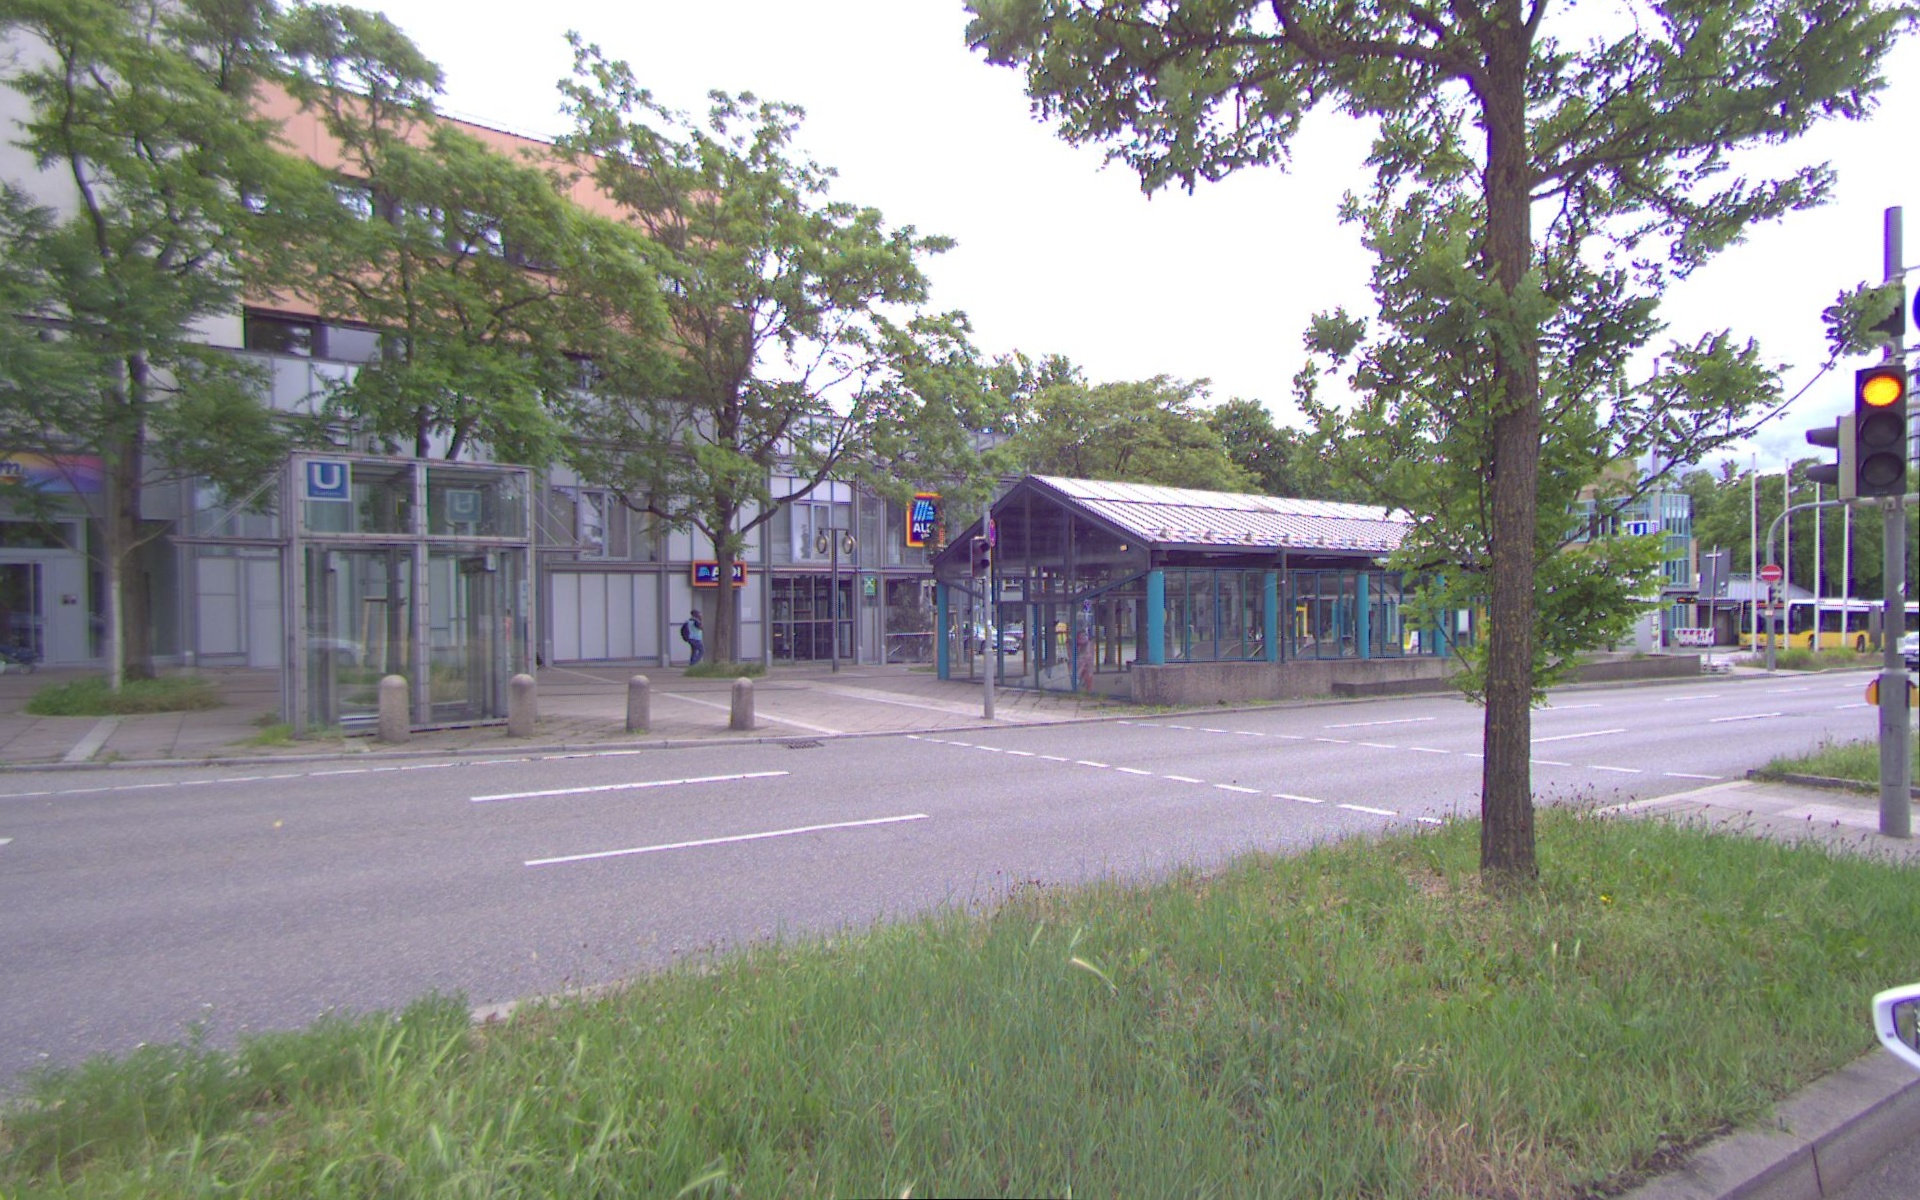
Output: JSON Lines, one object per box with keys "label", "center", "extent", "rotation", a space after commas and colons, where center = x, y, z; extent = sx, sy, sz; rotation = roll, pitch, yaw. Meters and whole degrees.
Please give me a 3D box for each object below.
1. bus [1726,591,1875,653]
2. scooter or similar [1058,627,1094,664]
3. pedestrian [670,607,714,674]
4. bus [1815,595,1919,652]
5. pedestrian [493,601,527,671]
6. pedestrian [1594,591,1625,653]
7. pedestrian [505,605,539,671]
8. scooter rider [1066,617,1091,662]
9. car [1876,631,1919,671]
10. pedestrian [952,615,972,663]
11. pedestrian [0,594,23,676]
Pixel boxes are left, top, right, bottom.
{"label": "bus", "center": [50.148, 1.336, 59.851], "extent": [10.592, 3.476, 2.822], "rotation": [1, -1, -26]}
{"label": "scooter or similar", "center": [4.151, 1.609, 35.823], "extent": [1.276, 1.284, 0.476], "rotation": [1, 2, -37]}
{"label": "pedestrian", "center": [-7.246, 1.077, 27.137], "extent": [0.879, 1.739, 0.764], "rotation": [1, 2, -39]}
{"label": "bus", "center": [59.315, 1.535, 64.475], "extent": [10.592, 3.476, 2.822], "rotation": [1, -1, -26]}
{"label": "pedestrian", "center": [-11.476, 0.909, 25.639], "extent": [0.674, 1.750, 0.560], "rotation": [1, -1, -39]}
{"label": "pedestrian", "center": [21.748, 0.738, 33.635], "extent": [0.639, 2.040, 0.677], "rotation": [1, -1, -34]}
{"label": "pedestrian", "center": [-10.986, 0.947, 25.195], "extent": [0.674, 1.610, 0.513], "rotation": [1, -1, -39]}
{"label": "scooter rider", "center": [4.242, 1.387, 35.883], "extent": [0.700, 1.566, 0.521], "rotation": [1, 2, -37]}
{"label": "car", "center": [37.886, 1.968, 39.340], "extent": [3.955, 1.505, 1.983], "rotation": [1, -1, -32]}
{"label": "pedestrian", "center": [0.082, 1.437, 37.218], "extent": [0.693, 1.739, 0.772], "rotation": [2, 1, 1]}
{"label": "pedestrian", "center": [-19.153, 0.688, 19.894], "extent": [0.819, 1.607, 0.629], "rotation": [1, -1, -40]}
